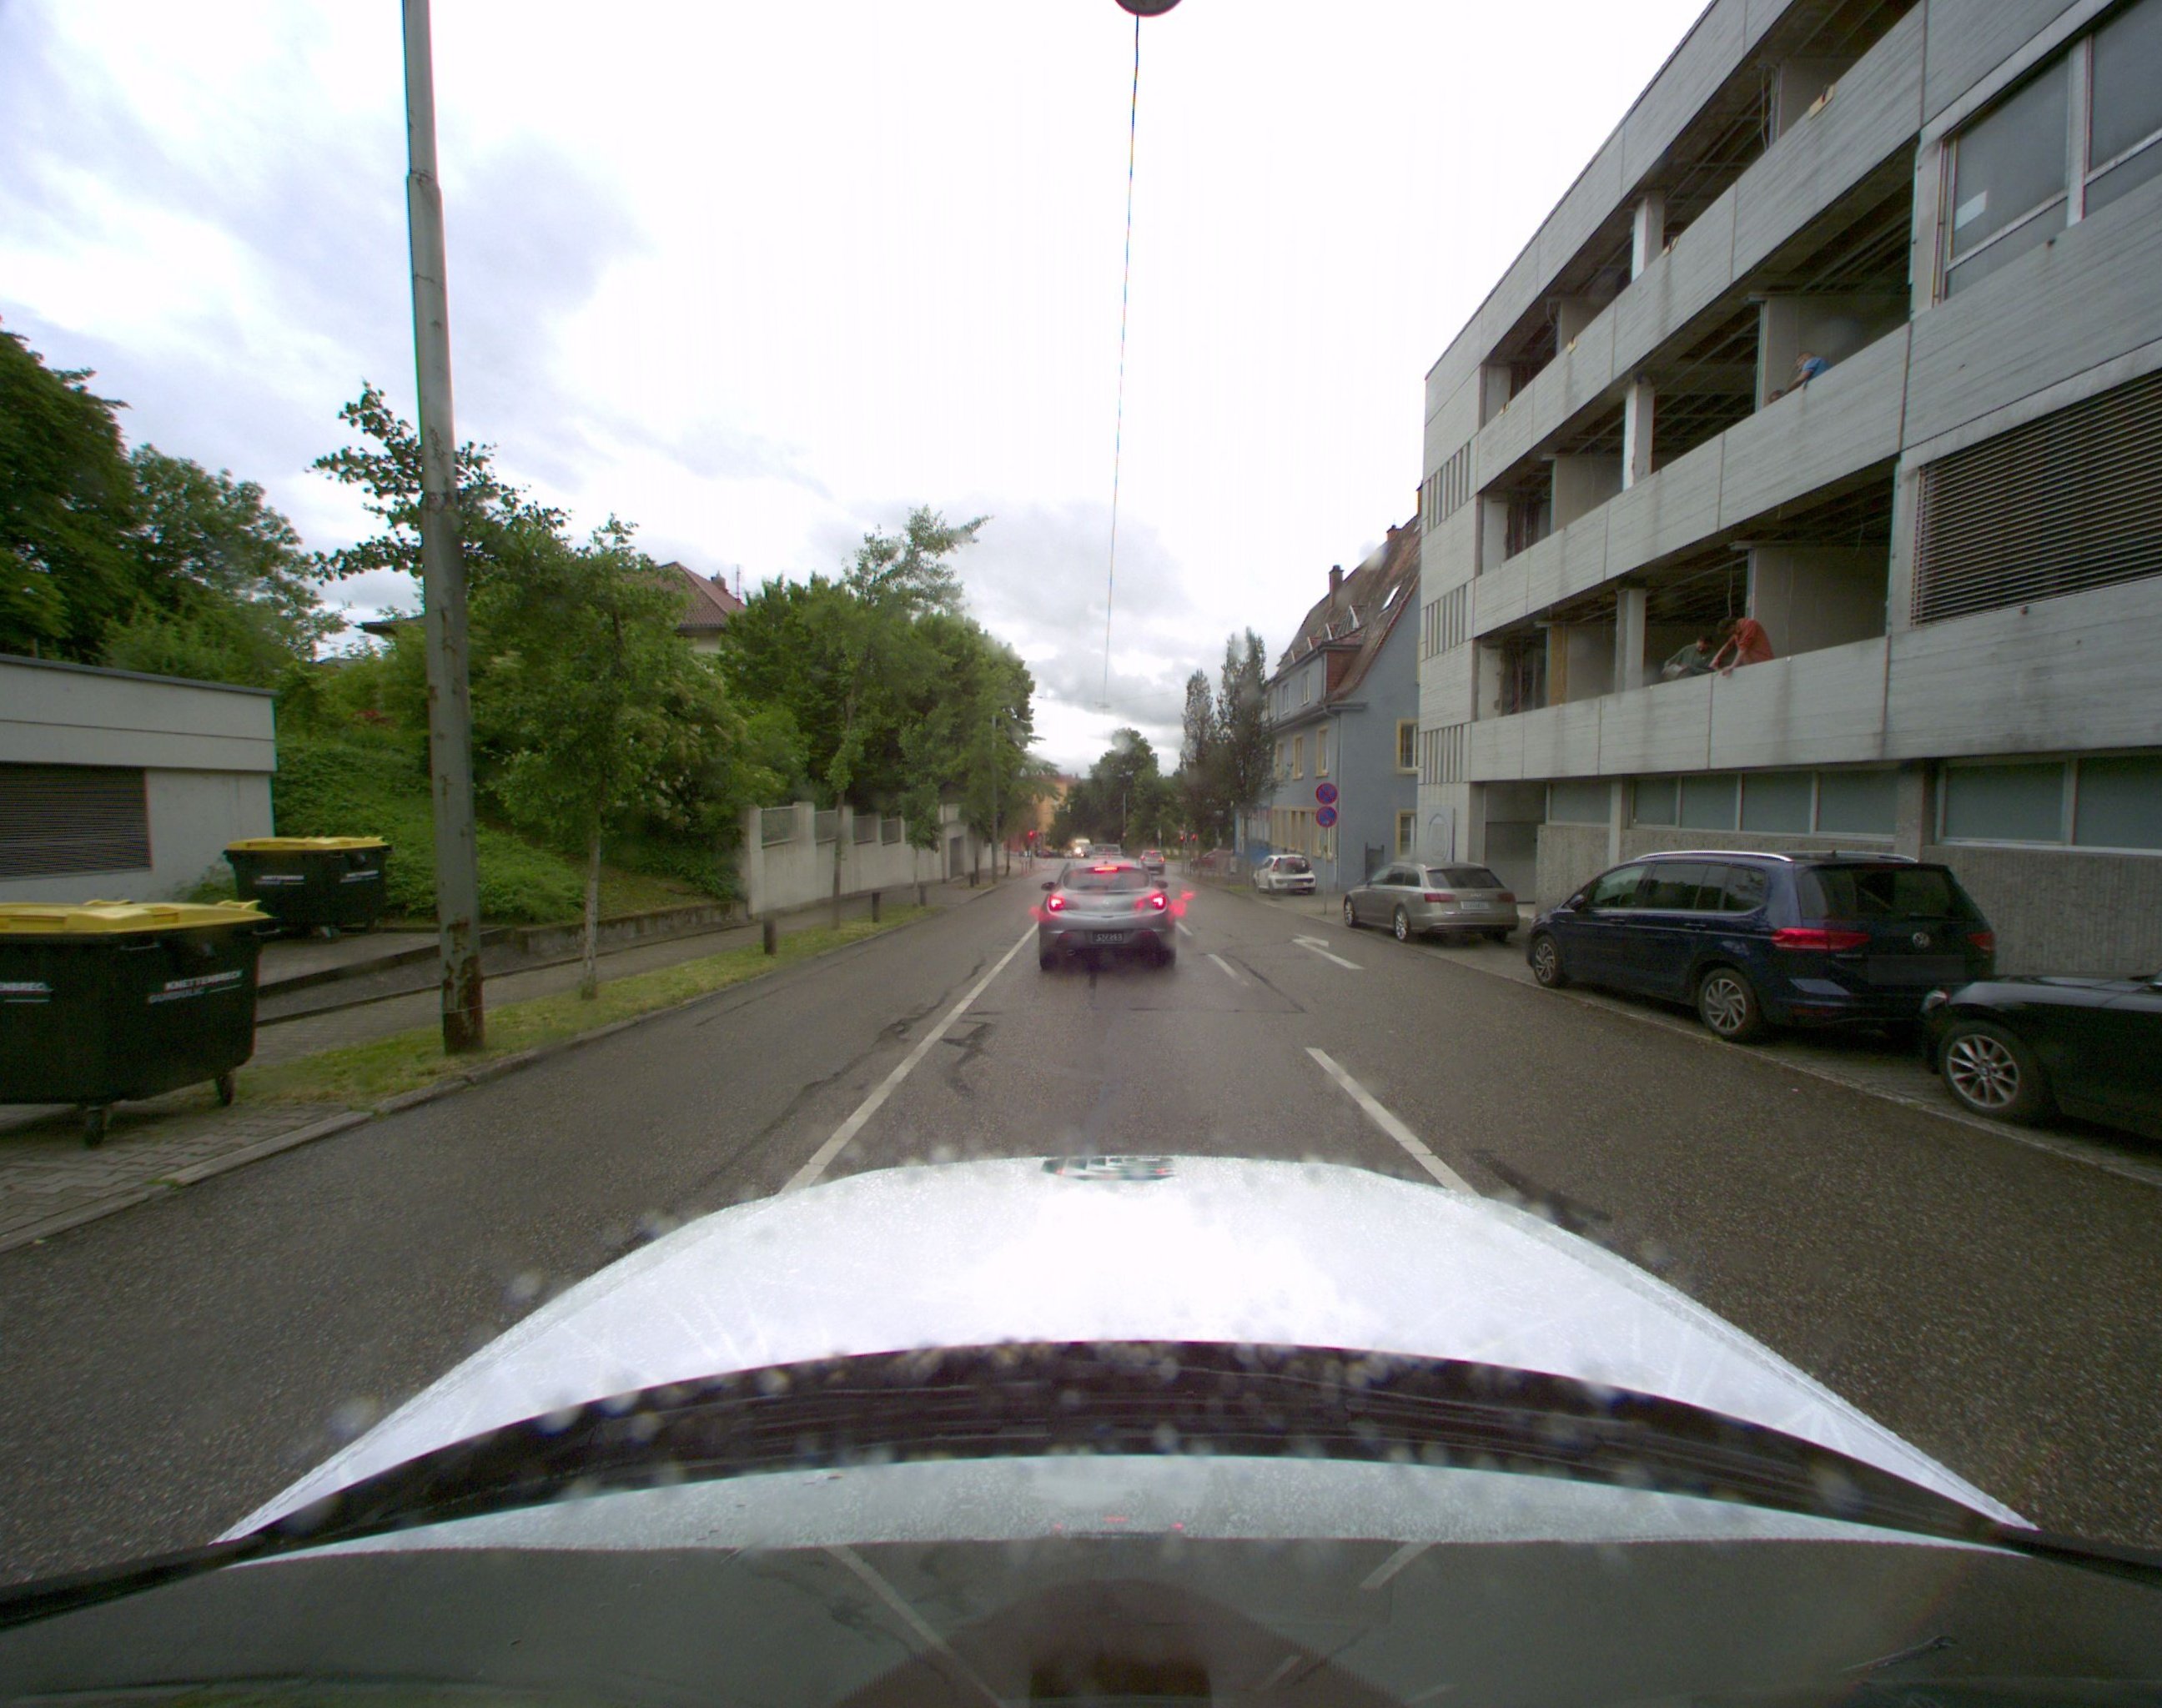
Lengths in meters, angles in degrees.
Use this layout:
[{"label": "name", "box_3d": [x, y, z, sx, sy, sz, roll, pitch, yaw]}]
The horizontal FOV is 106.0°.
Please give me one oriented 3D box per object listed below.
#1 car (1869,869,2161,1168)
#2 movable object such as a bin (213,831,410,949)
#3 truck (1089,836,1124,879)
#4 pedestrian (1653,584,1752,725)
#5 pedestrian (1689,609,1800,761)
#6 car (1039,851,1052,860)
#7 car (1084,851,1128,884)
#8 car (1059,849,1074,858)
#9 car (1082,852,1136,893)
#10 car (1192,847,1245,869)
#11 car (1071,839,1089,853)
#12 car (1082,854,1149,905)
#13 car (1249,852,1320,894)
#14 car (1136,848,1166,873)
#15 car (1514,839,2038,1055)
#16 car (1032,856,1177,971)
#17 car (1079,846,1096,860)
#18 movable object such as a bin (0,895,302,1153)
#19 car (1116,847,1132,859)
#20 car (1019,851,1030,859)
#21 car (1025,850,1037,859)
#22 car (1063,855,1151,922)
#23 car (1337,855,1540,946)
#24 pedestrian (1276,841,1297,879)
[{"label": "car", "box_3d": [6.275, 0.849, 3.569, 1.740, 1.448, 4.256, -1, 0, 4]}, {"label": "movable object such as a bin", "box_3d": [-9.987, 0.430, 10.660, 1.296, 1.363, 1.225, 0, 6, -5]}, {"label": "truck", "box_3d": [1.488, 0.186, 49.238, 1.955, 2.429, 4.936, 1, 0, 1]}, {"label": "pedestrian", "box_3d": [9.779, -3.112, 12.852, 0.904, 2.014, 0.861, 0, -1, 1]}, {"label": "pedestrian", "box_3d": [9.544, -2.394, 11.752, 0.904, 2.014, 0.861, 0, -1, 1]}, {"label": "car", "box_3d": [-6.936, 0.345, 160.521, 1.726, 1.638, 3.858, -1, 0, -16]}, {"label": "car", "box_3d": [1.163, 0.600, 39.236, 1.955, 1.448, 4.305, 1, 0, 1]}, {"label": "car", "box_3d": [-2.553, -0.111, 141.646, 1.726, 1.543, 3.858, -1, 0, -16]}, {"label": "car", "box_3d": [1.036, 0.660, 31.572, 1.955, 1.448, 4.305, 1, 0, 1]}, {"label": "car", "box_3d": [12.154, 0.364, 72.193, 4.426, 1.828, 1.753, -2, -1, 2]}, {"label": "car", "box_3d": [-0.160, -1.011, 102.473, 1.721, 1.638, 3.870, -1, 0, -7]}, {"label": "car", "box_3d": [1.040, 0.747, 26.188, 1.955, 1.448, 4.305, 1, 0, 1]}, {"label": "car", "box_3d": [7.581, 0.656, 30.683, 1.717, 1.448, 3.880, -1, 0, 1]}, {"label": "car", "box_3d": [4.877, 0.432, 57.196, 1.717, 1.714, 3.879, -1, 0, 0]}, {"label": "car", "box_3d": [6.341, 0.692, 8.206, 1.723, 1.599, 4.160, -1, 0, 0]}, {"label": "car", "box_3d": [0.298, 0.752, 12.276, 1.831, 1.434, 3.879, 0, 0, 0]}, {"label": "car", "box_3d": [0.768, -0.101, 94.805, 1.864, 1.638, 3.880, -1, 0, 1]}, {"label": "movable object such as a bin", "box_3d": [-5.935, 0.943, 4.936, 1.296, 1.306, 1.153, 0, 1, -7]}, {"label": "car", "box_3d": [5.838, -0.154, 110.995, 1.718, 1.638, 3.877, -1, 0, -2]}, {"label": "car", "box_3d": [-11.301, 0.246, 163.179, 1.722, 1.638, 3.867, 1, -1, -9]}, {"label": "car", "box_3d": [-8.145, 0.105, 133.588, 1.717, 1.460, 3.880, -1, 0, 1]}, {"label": "car", "box_3d": [0.612, 0.789, 20.472, 1.955, 1.448, 4.305, 1, 0, 1]}, {"label": "car", "box_3d": [6.666, 0.781, 15.812, 1.956, 1.448, 4.526, -1, 0, 0]}, {"label": "pedestrian", "box_3d": [9.326, 0.264, 36.988, 0.780, 1.729, 0.651, 1, 0, 1]}]
